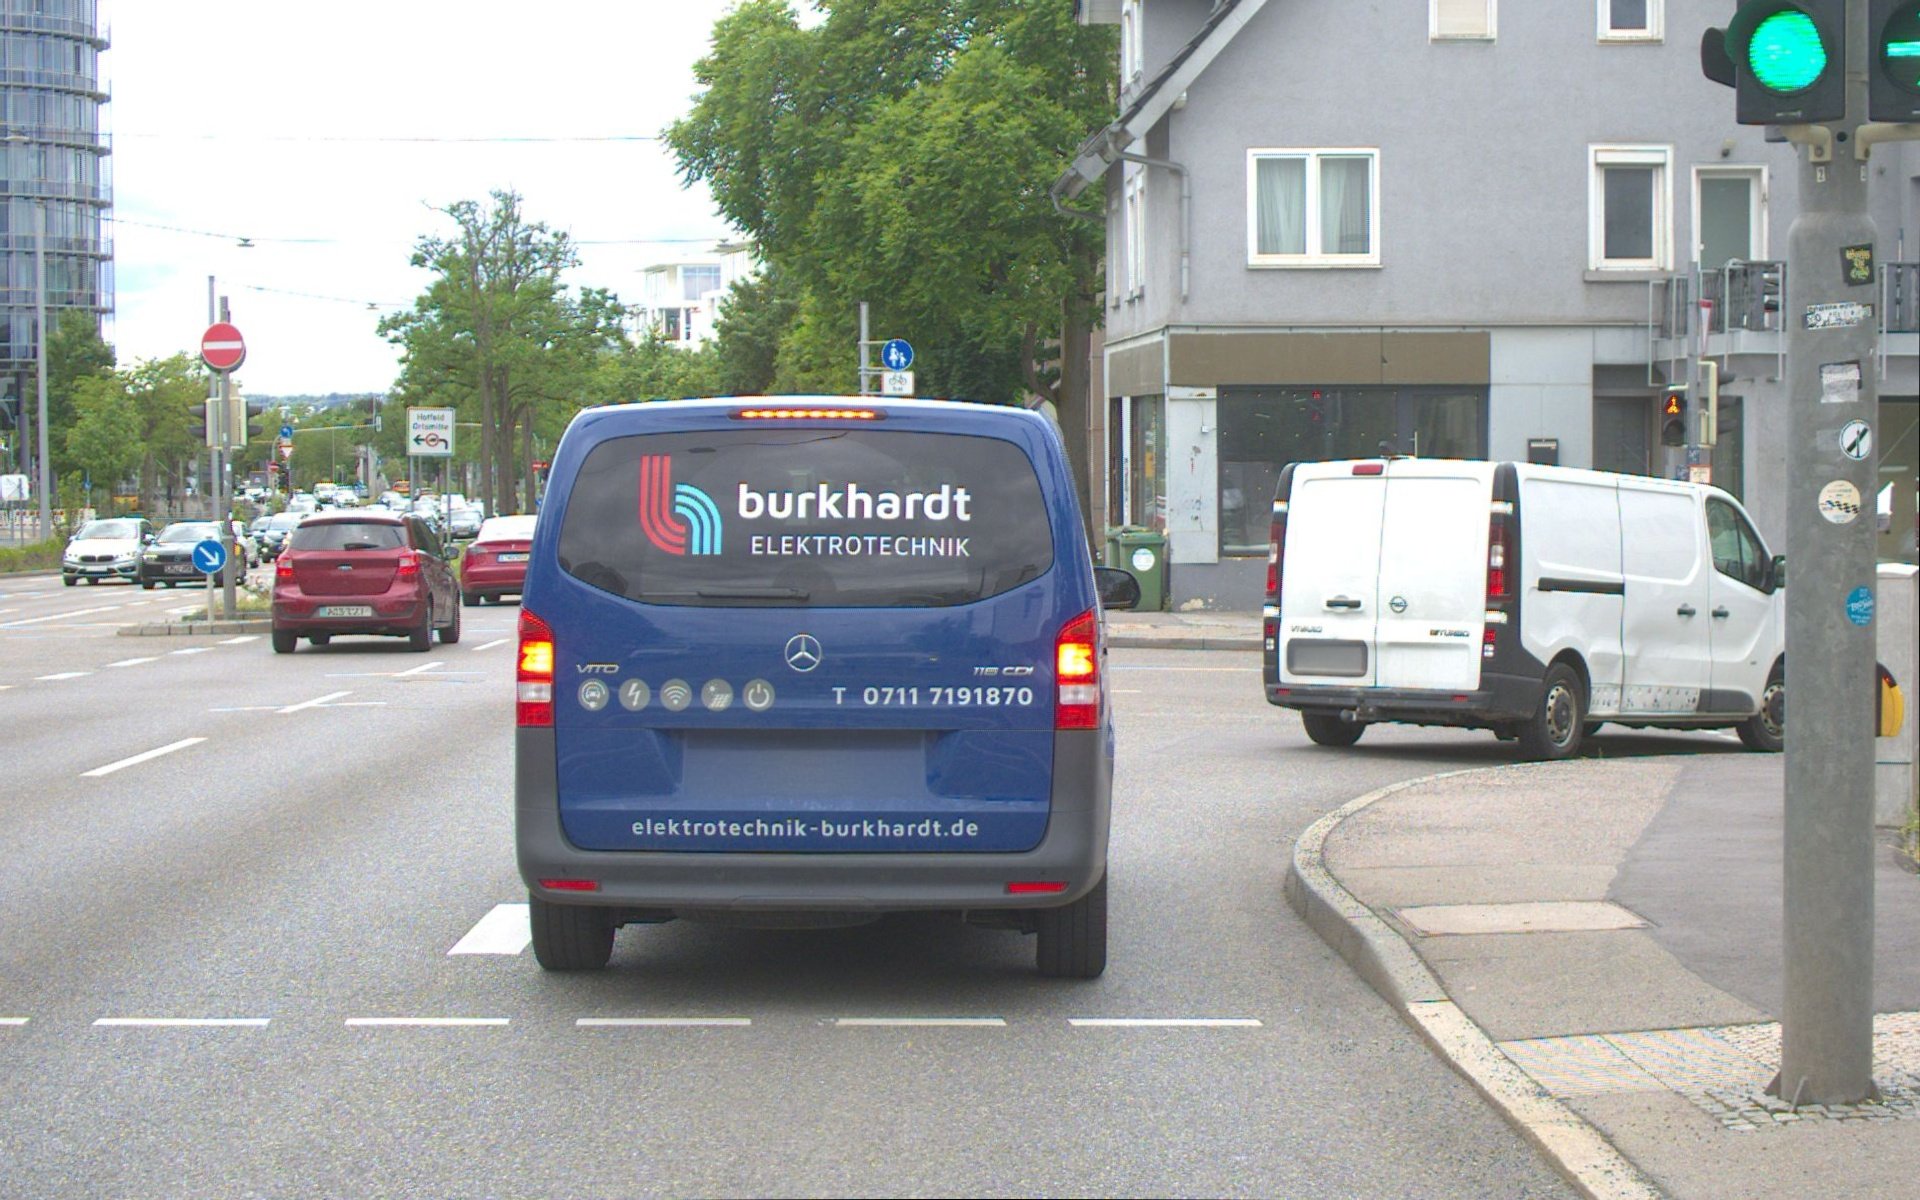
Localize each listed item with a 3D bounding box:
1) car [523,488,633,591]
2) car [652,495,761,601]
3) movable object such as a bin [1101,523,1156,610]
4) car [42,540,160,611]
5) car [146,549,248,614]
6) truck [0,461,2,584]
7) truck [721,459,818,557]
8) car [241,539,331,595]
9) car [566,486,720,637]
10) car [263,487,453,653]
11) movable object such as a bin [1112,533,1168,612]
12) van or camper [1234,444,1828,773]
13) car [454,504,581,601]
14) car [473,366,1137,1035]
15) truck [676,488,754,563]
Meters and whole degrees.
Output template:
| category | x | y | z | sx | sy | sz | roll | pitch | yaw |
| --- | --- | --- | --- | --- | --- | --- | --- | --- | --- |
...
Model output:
| category | x | y | z | sx | sy | sz | roll | pitch | yaw |
| --- | --- | --- | --- | --- | --- | --- | --- | --- | --- |
| car | -7.943 | -1.274 | 71.169 | 1.993 | 2.006 | 4.002 | 1 | 2 | -10 |
| car | -4.263 | -0.904 | 58.216 | 1.746 | 1.717 | 4.001 | -1 | 2 | -3 |
| movable object such as a bin | 2.169 | -0.437 | 44.325 | 0.597 | 1.097 | 0.573 | -1 | 1 | -9 |
| car | -20.229 | -0.596 | 81.117 | 1.993 | 1.568 | 4.001 | -1 | 1 | -3 |
| car | -16.701 | -0.425 | 75.400 | 1.993 | 1.327 | 4.446 | -1 | 1 | -10 |
| truck | -23.330 | -2.114 | 74.232 | 3.367 | 3.714 | 8.028 | -1 | 1 | -3 |
| truck | -4.447 | -2.157 | 80.775 | 1.993 | 2.158 | 5.560 | 2 | 1 | -1 |
| car | -18.905 | -0.945 | 96.582 | 1.993 | 1.511 | 4.001 | -1 | 1 | -4 |
| car | -3.800 | -0.500 | 41.731 | 1.746 | 1.717 | 4.001 | -1 | 2 | -4 |
| car | -6.584 | -0.369 | 37.925 | 1.746 | 1.717 | 4.001 | -1 | 2 | -6 |
| movable object such as a bin | 2.283 | -0.356 | 43.731 | 0.597 | 0.984 | 0.573 | -1 | 1 | -9 |
| van or camper | 4.134 | -0.040 | 24.152 | 1.998 | 2.006 | 5.086 | 4 | 4 | 36 |
| car | -7.277 | -0.752 | 56.288 | 1.868 | 1.481 | 4.001 | -1 | 0 | -10 |
| car | -0.447 | 0.250 | 12.413 | 1.948 | 1.959 | 4.542 | 0 | 1 | 0 |
| truck | -7.416 | -2.262 | 104.514 | 1.993 | 2.158 | 5.560 | 2 | 1 | -1 |
